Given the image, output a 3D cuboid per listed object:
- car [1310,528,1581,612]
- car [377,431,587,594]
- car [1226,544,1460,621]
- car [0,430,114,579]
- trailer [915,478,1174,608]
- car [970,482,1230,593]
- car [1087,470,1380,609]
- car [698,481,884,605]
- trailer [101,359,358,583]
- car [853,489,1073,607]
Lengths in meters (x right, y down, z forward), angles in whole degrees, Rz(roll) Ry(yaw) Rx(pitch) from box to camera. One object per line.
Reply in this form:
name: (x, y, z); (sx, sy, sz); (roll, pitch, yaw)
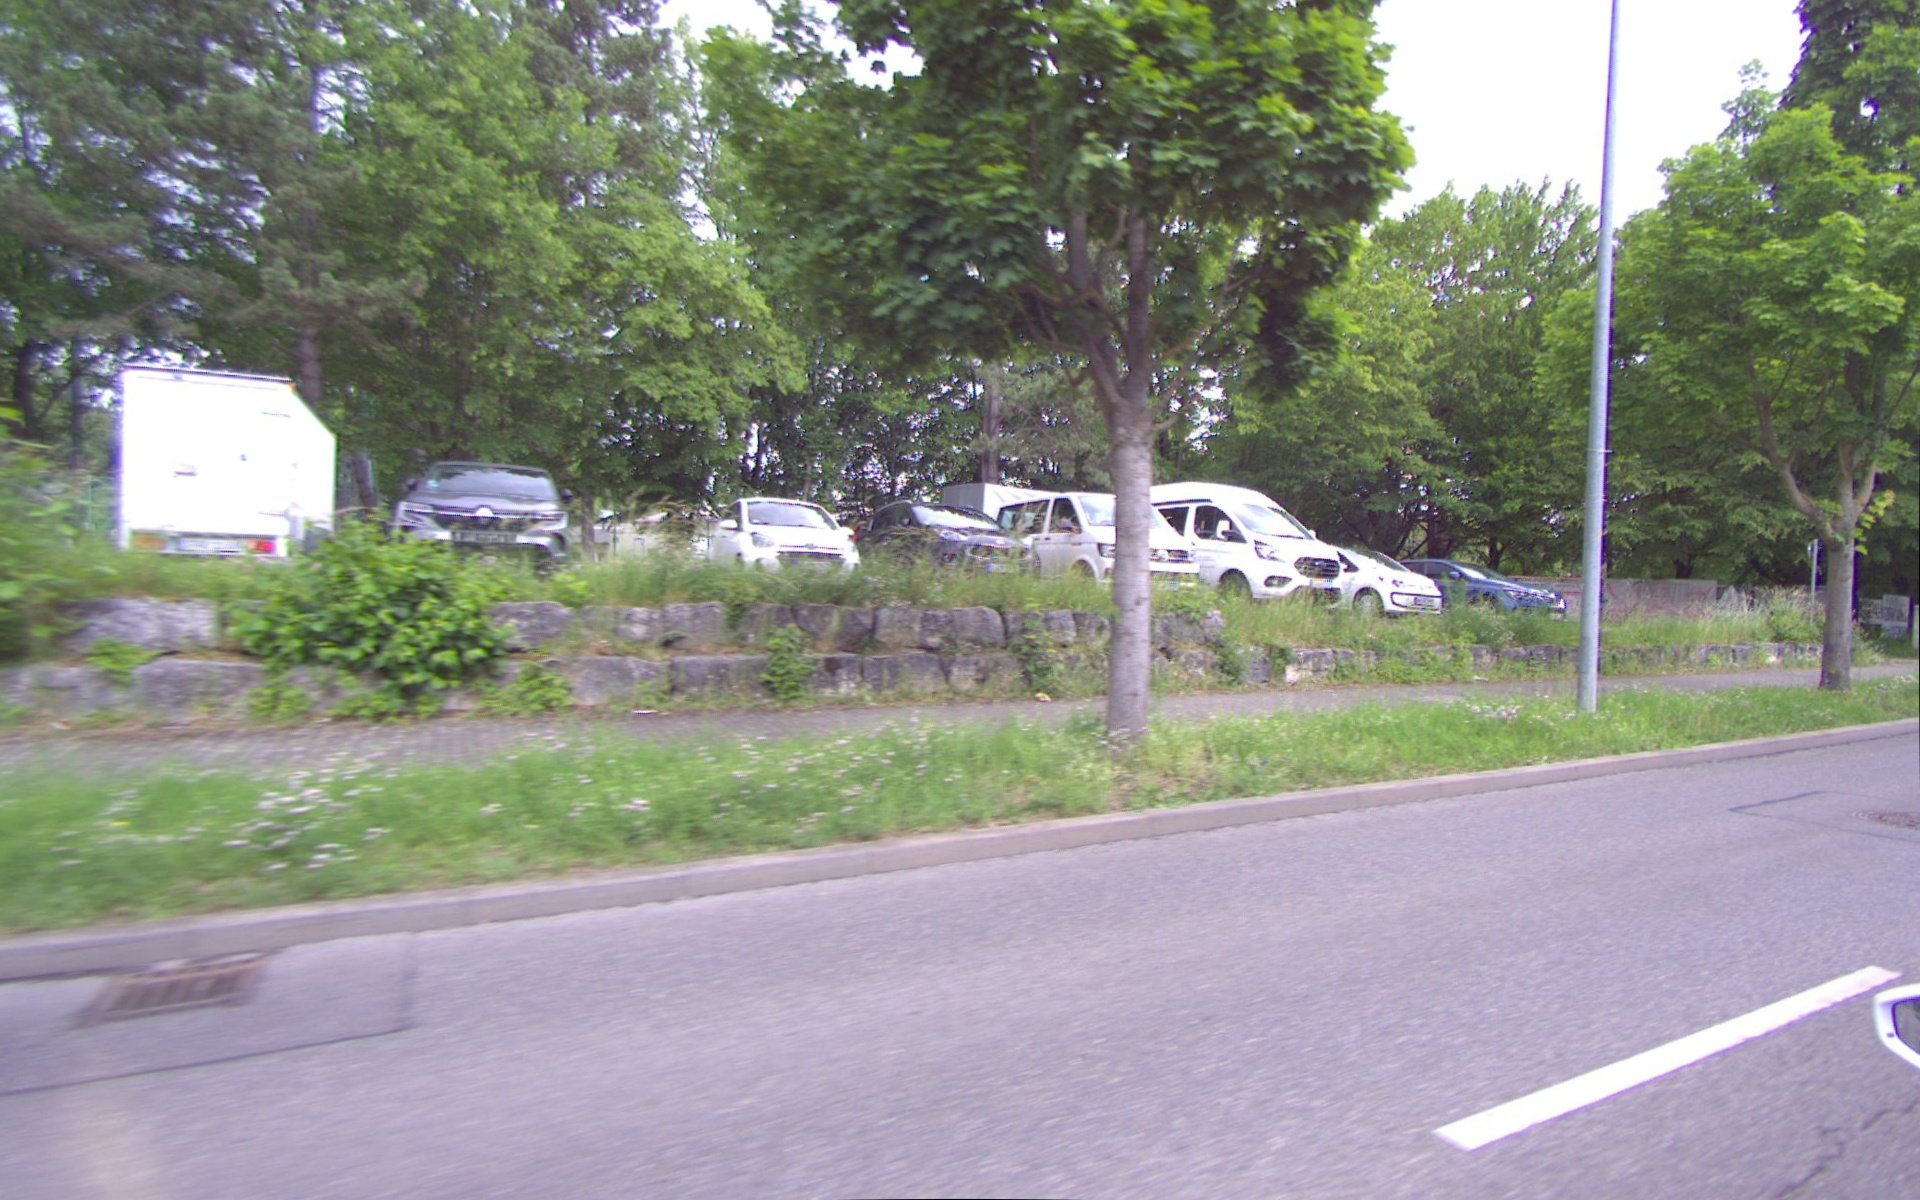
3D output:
car: (10.261, -0.659, 21.735); (1.862, 1.582, 5.133); (1, 2, -28)
car: (-5.783, -0.956, 12.378); (1.972, 1.605, 4.023); (1, 2, -24)
car: (7.363, -0.378, 19.792); (1.543, 1.334, 4.358); (1, 2, -28)
car: (-10.601, -0.977, 10.239); (1.972, 1.436, 4.023); (1, 2, -24)
trailer: (2.507, -1.532, 29.160); (7.107, 3.115, 2.637); (3, 1, -29)
car: (2.157, -0.997, 17.174); (2.068, 1.569, 4.980); (1, 2, -24)
car: (4.734, -1.026, 18.333); (2.187, 2.135, 5.133); (1, 2, -28)
car: (-2.636, -0.795, 14.833); (1.756, 1.532, 4.023); (1, 2, -24)
trailer: (-8.066, -1.260, 11.424); (1.655, 2.086, 3.357); (1, 1, -24)
car: (-0.111, -0.780, 15.815); (1.972, 1.569, 4.023); (1, 2, -24)
